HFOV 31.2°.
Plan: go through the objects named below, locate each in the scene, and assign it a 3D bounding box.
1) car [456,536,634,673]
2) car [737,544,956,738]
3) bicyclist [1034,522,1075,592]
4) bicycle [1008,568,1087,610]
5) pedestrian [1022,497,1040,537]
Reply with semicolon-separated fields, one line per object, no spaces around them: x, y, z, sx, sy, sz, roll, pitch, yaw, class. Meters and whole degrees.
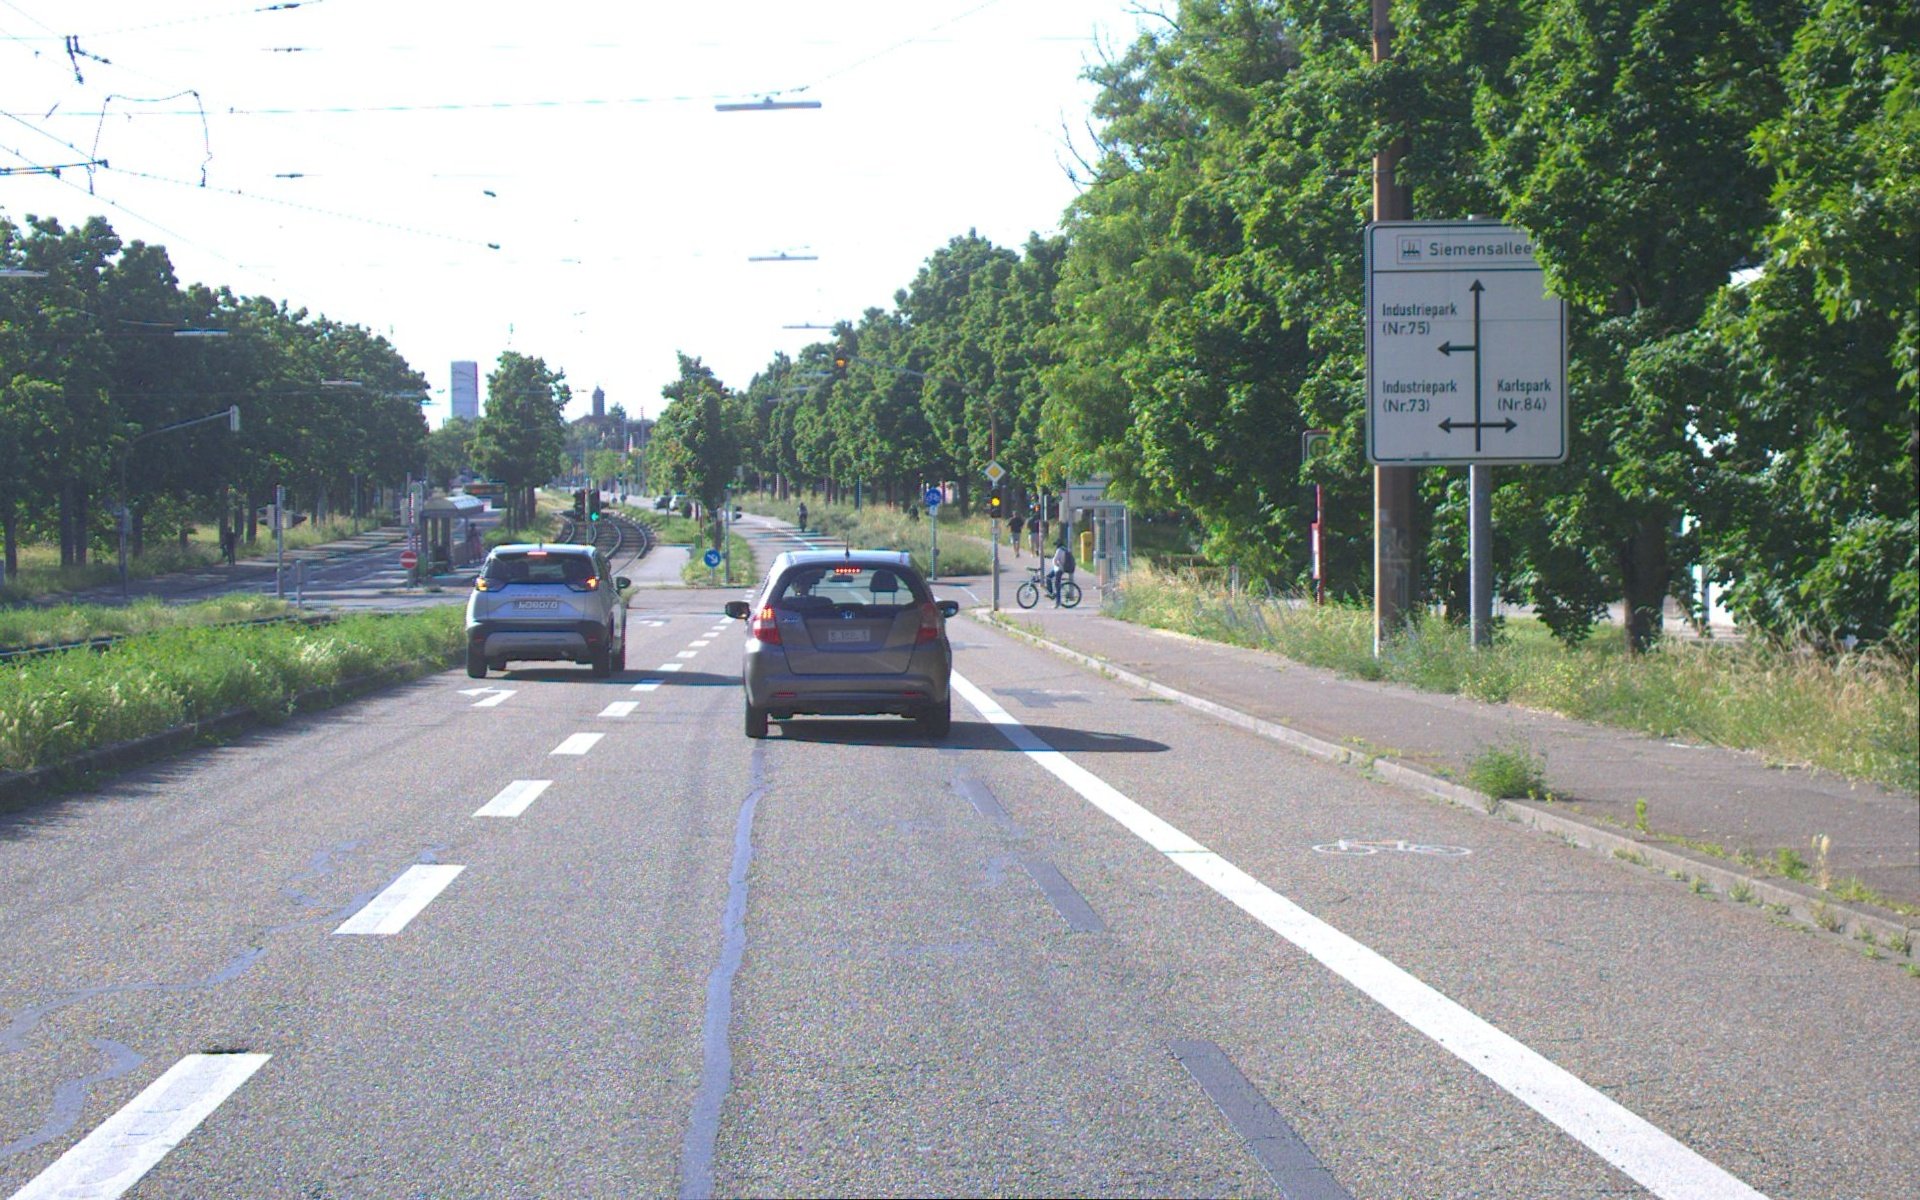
-5.032;0.013;42.167;1.850;1.601;4.255;0;1;-3;car
-0.945;0.290;29.026;1.707;1.503;4.000;0;1;-1;car
2.422;-1.100;87.917;0.910;1.739;0.764;-1;1;9;bicyclist
2.239;-0.290;87.959;1.920;0.994;0.764;-2;0;9;bicycle
2.919;-3.408;141.334;0.678;1.604;0.721;1;1;-4;pedestrian
